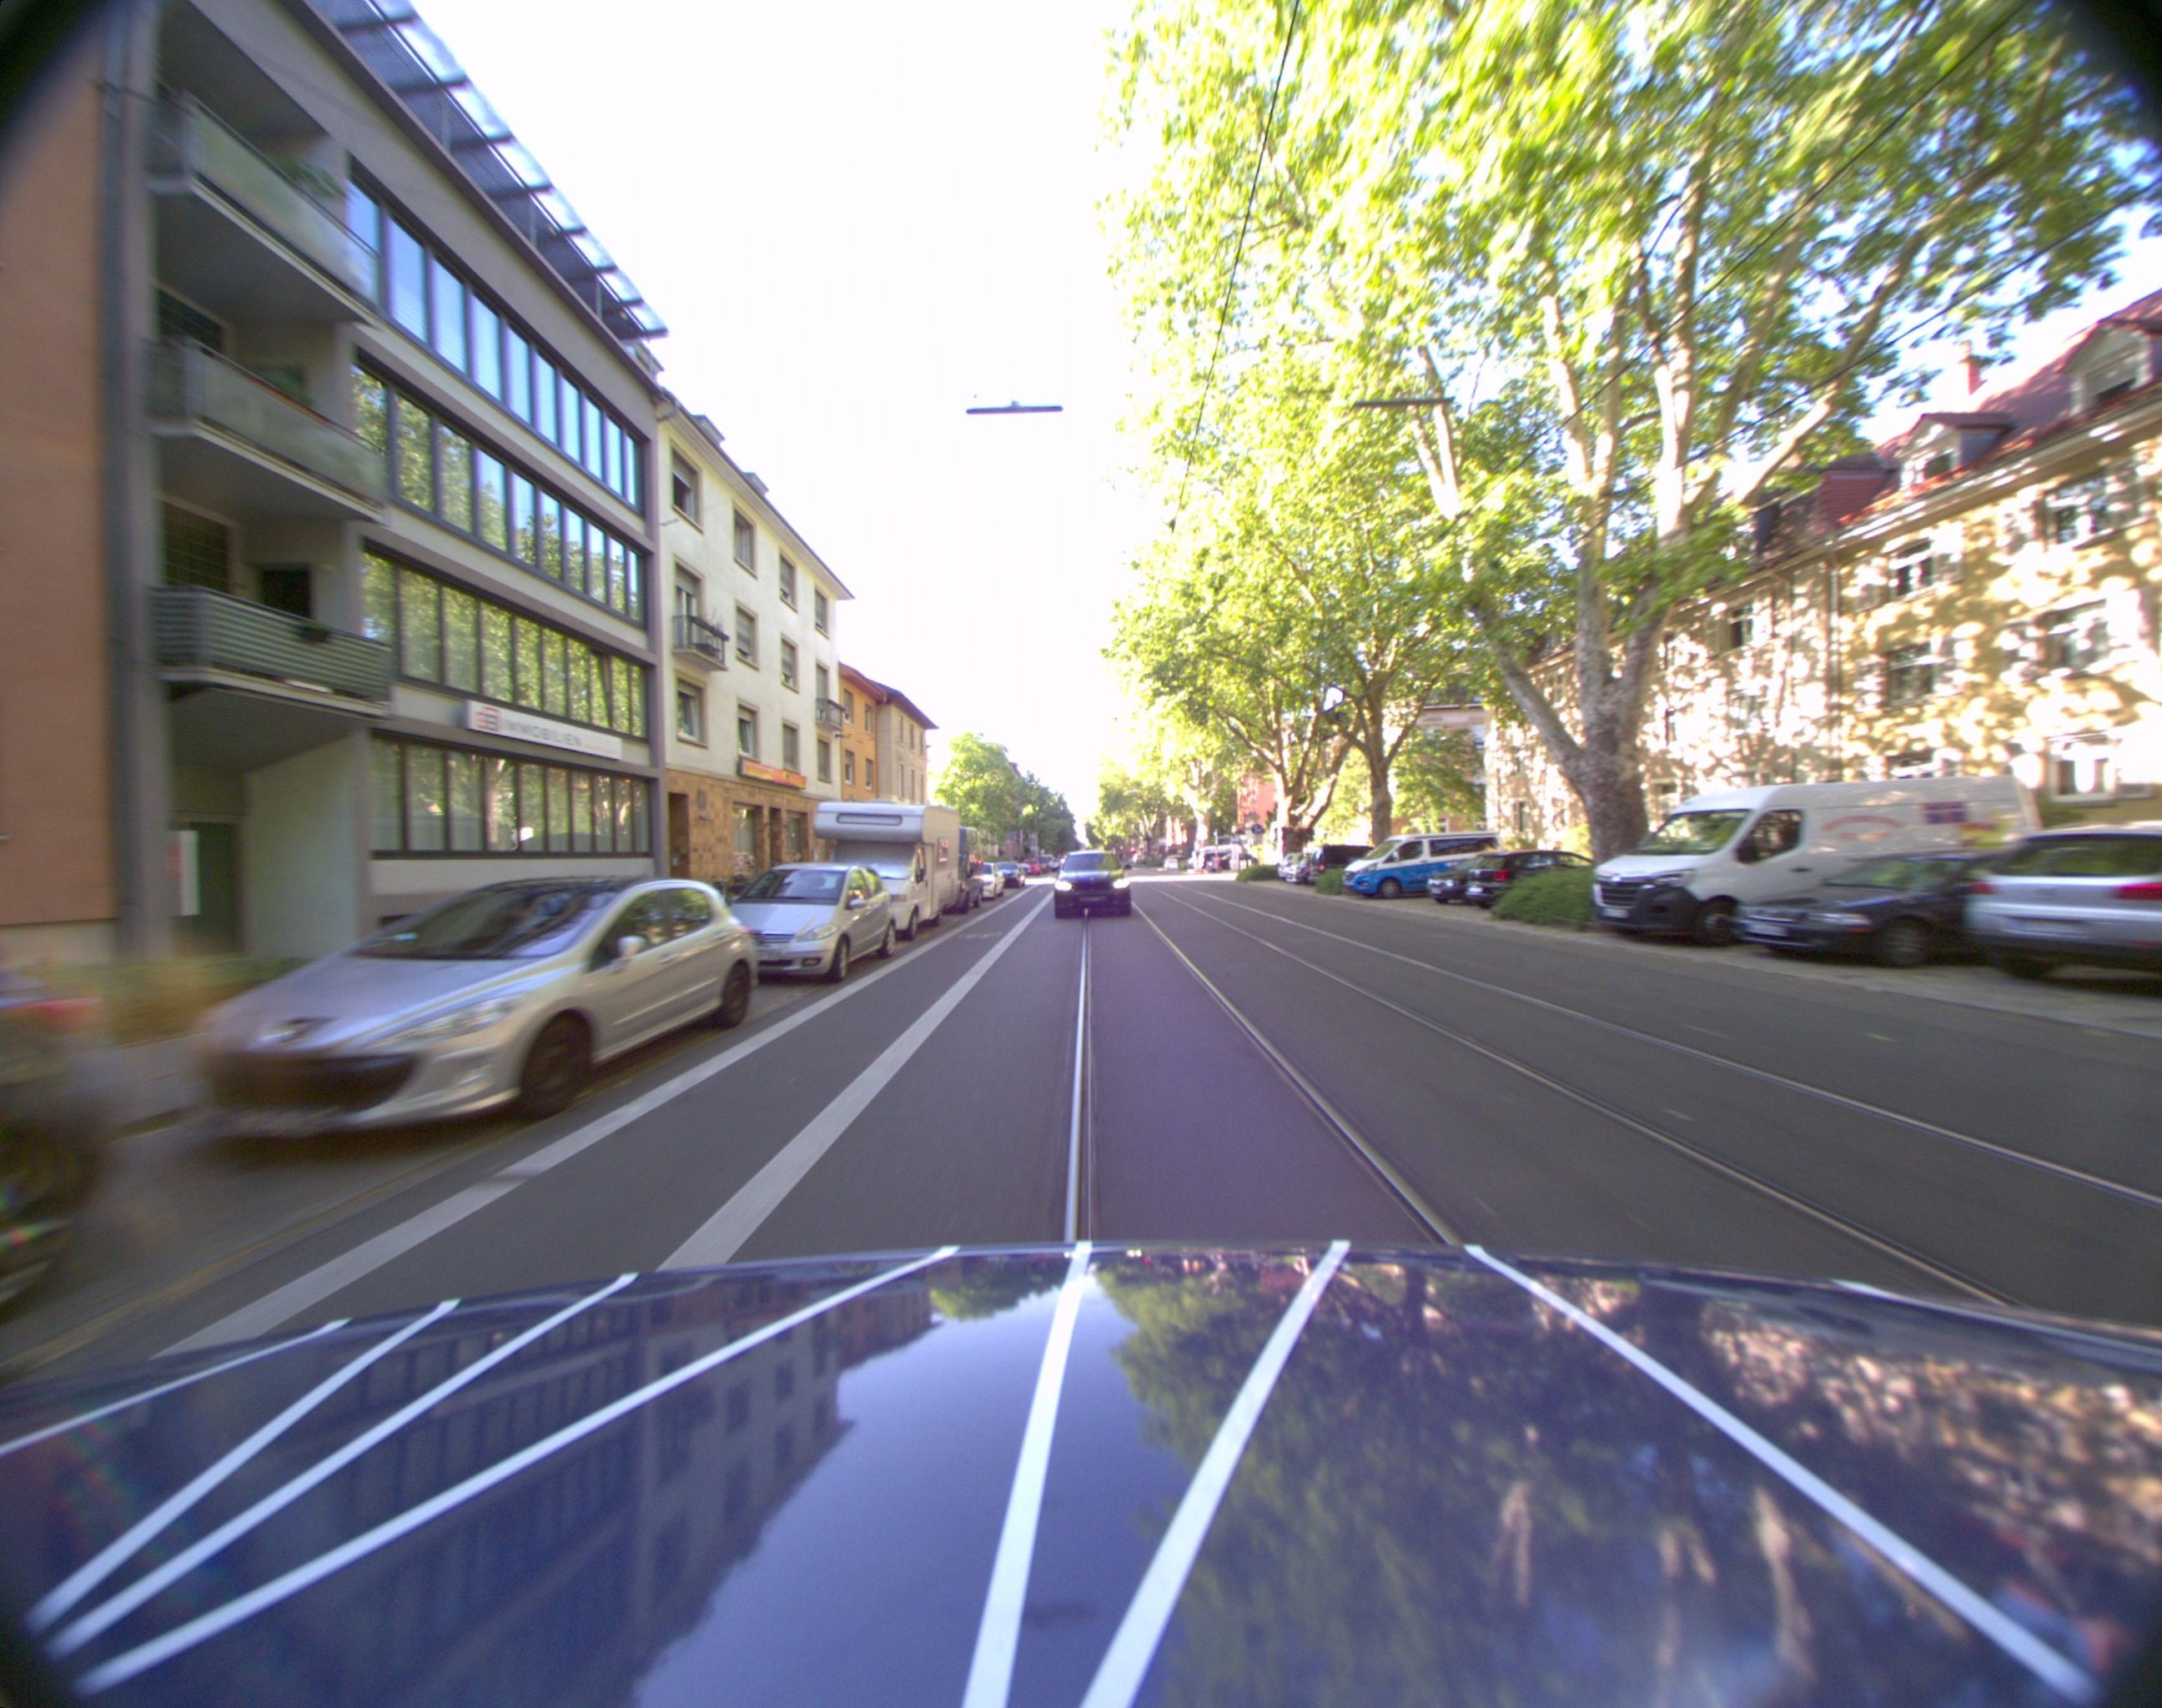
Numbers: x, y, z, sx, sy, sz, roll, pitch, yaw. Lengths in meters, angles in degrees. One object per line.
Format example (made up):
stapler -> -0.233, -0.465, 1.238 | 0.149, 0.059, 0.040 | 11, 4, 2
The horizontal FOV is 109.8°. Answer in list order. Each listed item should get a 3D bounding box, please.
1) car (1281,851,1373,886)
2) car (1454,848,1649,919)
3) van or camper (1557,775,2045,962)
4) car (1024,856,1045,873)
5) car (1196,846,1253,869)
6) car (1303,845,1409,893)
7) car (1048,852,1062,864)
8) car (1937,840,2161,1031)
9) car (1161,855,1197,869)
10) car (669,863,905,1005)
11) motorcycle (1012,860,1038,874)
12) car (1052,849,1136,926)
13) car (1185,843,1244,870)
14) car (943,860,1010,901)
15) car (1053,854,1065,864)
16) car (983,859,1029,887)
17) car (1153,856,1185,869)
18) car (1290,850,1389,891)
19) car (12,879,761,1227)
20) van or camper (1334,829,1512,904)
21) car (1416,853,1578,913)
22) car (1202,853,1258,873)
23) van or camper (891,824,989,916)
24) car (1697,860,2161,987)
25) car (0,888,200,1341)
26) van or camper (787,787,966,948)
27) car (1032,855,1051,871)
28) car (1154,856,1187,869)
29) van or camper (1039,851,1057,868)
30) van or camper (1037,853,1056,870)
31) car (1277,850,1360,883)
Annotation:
car -> 11.534, 0.676, 35.719 | 3.693, 1.477, 1.701 | -2, 0, -6
car -> 11.367, 0.689, 18.533 | 3.690, 1.556, 1.613 | -2, 0, 2
van or camper -> 11.090, 0.207, 12.115 | 5.403, 2.501, 2.445 | -2, 0, 0
car -> -4.117, 0.924, 67.470 | 1.607, 1.372, 3.864 | 1, 0, 1
car -> 12.180, 0.313, 64.696 | 4.464, 1.755, 2.028 | -2, 0, -1
car -> 11.257, 0.582, 31.226 | 3.691, 1.804, 1.704 | -2, 0, 0
car -> -3.606, 0.538, 107.063 | 1.815, 1.701, 4.372 | 1, 0, 1
car -> 11.334, 0.686, 7.398 | 3.856, 1.653, 1.862 | -1, 0, 1
car -> 11.494, 0.924, 89.251 | 3.966, 1.506, 1.810 | -2, 0, -1
car -> -4.032, 0.986, 11.263 | 1.797, 1.618, 4.276 | 1, 0, 1
motorcycle -> -4.684, 1.094, 63.935 | 2.071, 1.152, 0.828 | 1, 1, 4
car -> 0.332, 0.777, 20.264 | 1.924, 1.741, 4.806 | -2, 0, 1
car -> 12.362, 0.240, 70.598 | 5.019, 2.383, 2.028 | -2, 0, -1
car -> -4.172, 1.031, 31.126 | 1.998, 1.485, 4.740 | 1, 0, 1
car -> -3.447, 0.746, 121.373 | 1.781, 1.490, 4.372 | 1, 0, 1
car -> -4.002, 1.001, 41.265 | 1.998, 1.372, 4.739 | 1, 0, 1
car -> 11.516, 1.141, 99.481 | 3.966, 1.506, 1.810 | -2, 0, -1
car -> 11.373, 0.702, 33.577 | 3.692, 1.615, 1.799 | -2, 0, -4
car -> -4.245, 1.032, 5.819 | 1.793, 1.513, 4.321 | 1, 0, 0
van or camper -> 11.040, 0.382, 24.796 | 4.832, 2.177, 2.119 | -2, 0, 0
car -> 11.366, 0.758, 20.900 | 3.540, 1.451, 1.695 | -2, 0, -6
car -> 12.124, 0.733, 62.045 | 4.170, 1.506, 1.925 | -2, 0, -1
van or camper -> -4.354, 0.453, 24.306 | 2.138, 2.647, 4.979 | 1, 0, 1
car -> 10.658, 0.809, 9.620 | 4.274, 1.390, 1.753 | -1, 0, 1
car -> -4.709, 0.935, 1.110 | 1.772, 1.563, 4.336 | 1, 0, 1
van or camper -> -4.367, 0.245, 17.588 | 2.468, 3.046, 6.267 | 1, 0, 0
car -> -3.944, 0.877, 76.741 | 1.694, 1.478, 4.143 | 1, 0, 1
car -> 11.470, 1.103, 97.154 | 3.966, 1.506, 1.810 | -2, 0, -1
van or camper -> -3.891, 0.639, 91.360 | 1.882, 1.873, 4.923 | 1, 0, 1
van or camper -> -3.679, 0.752, 81.716 | 1.694, 1.772, 4.443 | 1, 0, 1
car -> 11.858, 0.614, 38.126 | 3.689, 1.545, 1.704 | -2, 0, 6
